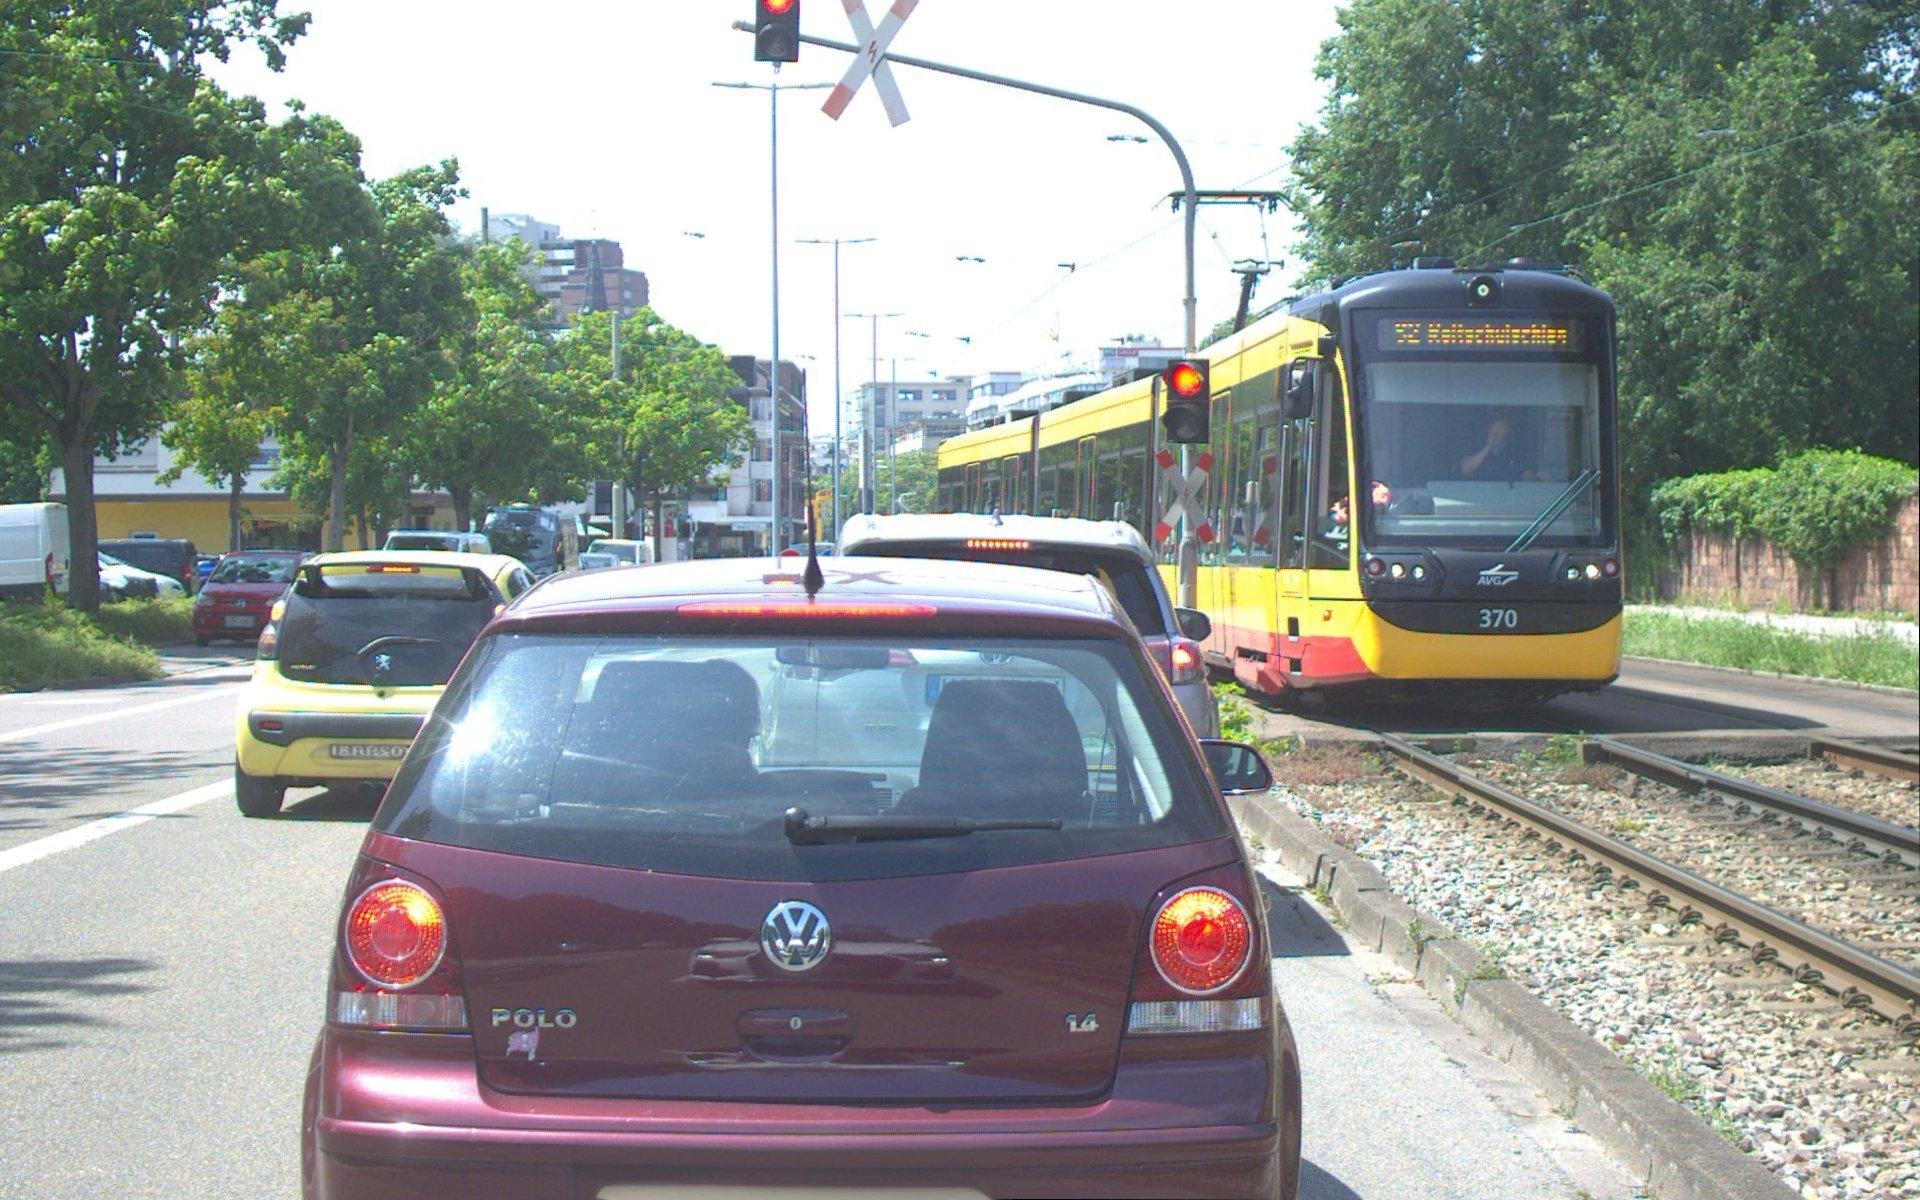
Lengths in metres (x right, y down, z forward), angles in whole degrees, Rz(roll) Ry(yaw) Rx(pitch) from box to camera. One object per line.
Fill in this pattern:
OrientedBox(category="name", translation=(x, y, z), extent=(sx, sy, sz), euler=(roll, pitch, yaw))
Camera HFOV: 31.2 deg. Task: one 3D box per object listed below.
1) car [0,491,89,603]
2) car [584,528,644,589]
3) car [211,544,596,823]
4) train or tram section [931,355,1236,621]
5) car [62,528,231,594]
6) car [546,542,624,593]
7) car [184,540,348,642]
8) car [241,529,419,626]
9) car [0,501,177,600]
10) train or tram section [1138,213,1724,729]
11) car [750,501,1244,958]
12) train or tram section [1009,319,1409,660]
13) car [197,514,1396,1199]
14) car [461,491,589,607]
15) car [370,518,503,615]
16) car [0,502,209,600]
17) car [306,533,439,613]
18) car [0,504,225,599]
OrientedBox(category="car", translation=(-20.865, -1.135, 70.920), extent=(5.097, 2.237, 2.378), euler=(2, 0, 1))
OrientedBox(category="car", translation=(-10.813, -1.291, 107.501), extent=(1.774, 1.822, 4.001), euler=(2, 0, -6))
OrientedBox(category="car", translation=(-3.099, 0.410, 19.743), extent=(1.690, 1.406, 3.516), euler=(1, 1, -1))
OrientedBox(category="train or tram section", translation=(1.674, -1.679, 53.090), extent=(2.740, 3.597, 10.953), euler=(2, 1, -8))
OrientedBox(category="car", translation=(-21.691, -1.043, 91.730), extent=(4.020, 1.611, 1.816), euler=(2, 0, 1))
OrientedBox(category="car", translation=(-11.034, -0.952, 101.430), extent=(1.614, 1.436, 4.000), euler=(2, 0, 3))
OrientedBox(category="car", translation=(-10.940, -0.148, 54.393), extent=(1.663, 1.491, 4.000), euler=(2, 0, 1))
OrientedBox(category="car", translation=(-11.117, -0.395, 60.941), extent=(1.976, 1.595, 4.557), euler=(2, 0, 4))
OrientedBox(category="car", translation=(-21.597, -1.192, 82.253), extent=(5.097, 2.237, 2.378), euler=(2, 0, 1))
OrientedBox(category="train or tram section", translation=(3.701, -1.064, 30.995), extent=(2.740, 3.597, 12.872), euler=(2, 1, -3))
OrientedBox(category="car", translation=(0.089, 0.436, 14.635), extent=(1.777, 1.641, 4.000), euler=(1, 1, -1))
OrientedBox(category="train or tram section", translation=(2.777, -1.323, 42.555), extent=(2.740, 3.597, 10.953), euler=(2, 1, -7))
OrientedBox(category="car", translation=(-0.281, 0.615, 6.868), extent=(1.672, 1.516, 4.000), euler=(1, 1, -1))
OrientedBox(category="car", translation=(-10.600, -1.230, 84.216), extent=(2.361, 2.683, 5.307), euler=(2, 0, 0))
OrientedBox(category="car", translation=(-10.789, -0.679, 71.178), extent=(1.783, 1.875, 4.785), euler=(2, 0, 2))
OrientedBox(category="car", translation=(-21.346, -1.198, 84.725), extent=(5.097, 2.237, 2.378), euler=(2, 0, 1))
OrientedBox(category="car", translation=(-11.195, -0.502, 65.730), extent=(1.614, 1.436, 4.000), euler=(2, 0, 3))
OrientedBox(category="car", translation=(-21.519, -1.218, 87.385), extent=(5.097, 2.237, 2.378), euler=(2, 0, 1))
